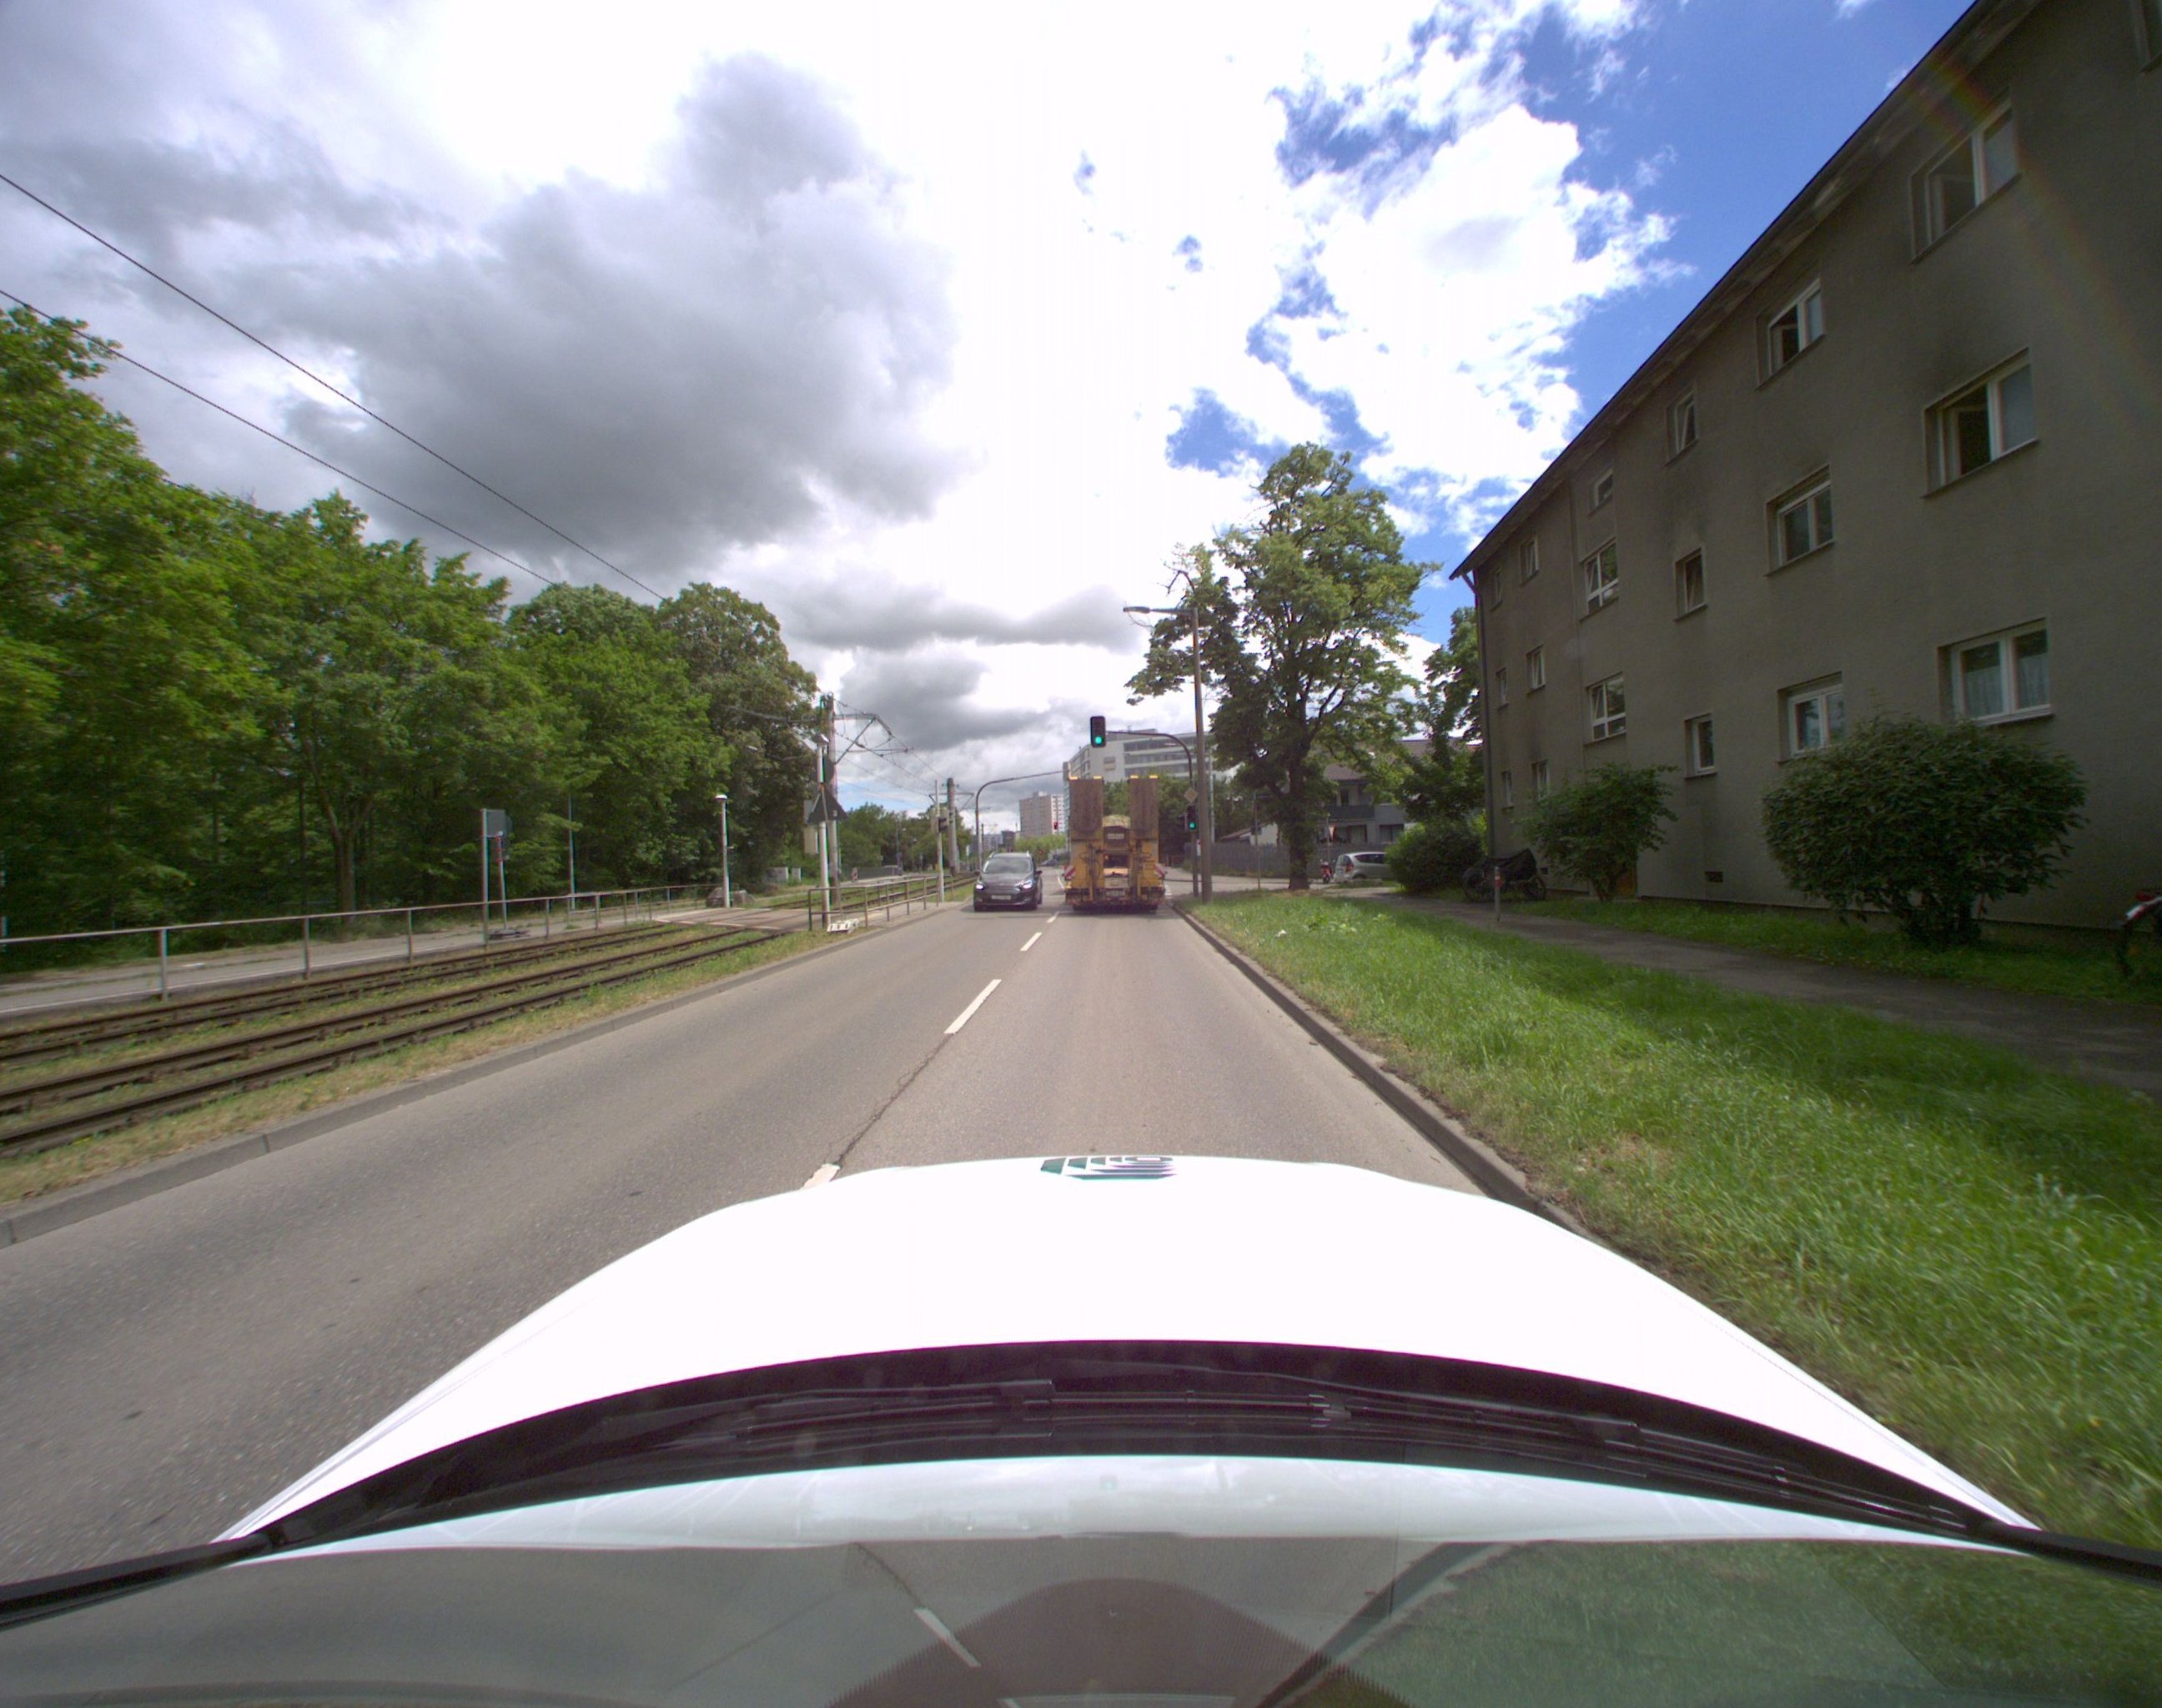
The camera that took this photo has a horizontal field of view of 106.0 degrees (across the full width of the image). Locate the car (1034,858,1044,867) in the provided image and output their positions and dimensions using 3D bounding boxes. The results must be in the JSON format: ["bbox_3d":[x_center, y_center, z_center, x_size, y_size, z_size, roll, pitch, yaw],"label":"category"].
[{"bbox_3d":[-9.134,1.888,176.197,1.990,1.926,3.993,0,-1,-5],"label":"car"}]

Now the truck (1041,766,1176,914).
[{"bbox_3d":[0.760,-0.290,26.666,3.305,3.651,12.561,-1,-1,1],"label":"truck"}]

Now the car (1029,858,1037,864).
[{"bbox_3d":[-11.783,1.711,199.122,1.990,1.420,3.993,-1,-1,-5],"label":"car"}]

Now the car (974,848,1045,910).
[{"bbox_3d":[-2.033,0.689,24.319,1.701,1.676,4.228,-1,0,0],"label":"car"}]

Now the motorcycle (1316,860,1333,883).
[{"bbox_3d":[12.602,0.905,42.092,0.653,1.149,2.437,-1,-1,20],"label":"motorcycle"}]

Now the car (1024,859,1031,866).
[{"bbox_3d":[-12.036,1.938,183.657,1.589,1.527,3.651,-3,-1,-3],"label":"car"}]

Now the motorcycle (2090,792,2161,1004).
[{"bbox_3d":[8.238,0.260,5.226,1.984,1.429,1.020,-2,0,12],"label":"motorcycle"}]

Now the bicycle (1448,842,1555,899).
[{"bbox_3d":[10.164,0.412,19.746,2.153,1.282,0.682,-2,-1,10],"label":"bicycle"}]

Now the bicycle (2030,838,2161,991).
[{"bbox_3d":[8.369,0.422,6.098,1.788,1.085,0.456,-2,0,6],"label":"bicycle"}]

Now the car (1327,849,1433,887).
[{"bbox_3d":[13.278,0.607,36.261,3.982,1.554,1.935,-1,0,-6],"label":"car"}]

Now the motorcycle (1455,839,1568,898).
[{"bbox_3d":[10.032,0.348,19.043,2.191,1.282,0.682,-2,-1,10],"label":"motorcycle"}]
